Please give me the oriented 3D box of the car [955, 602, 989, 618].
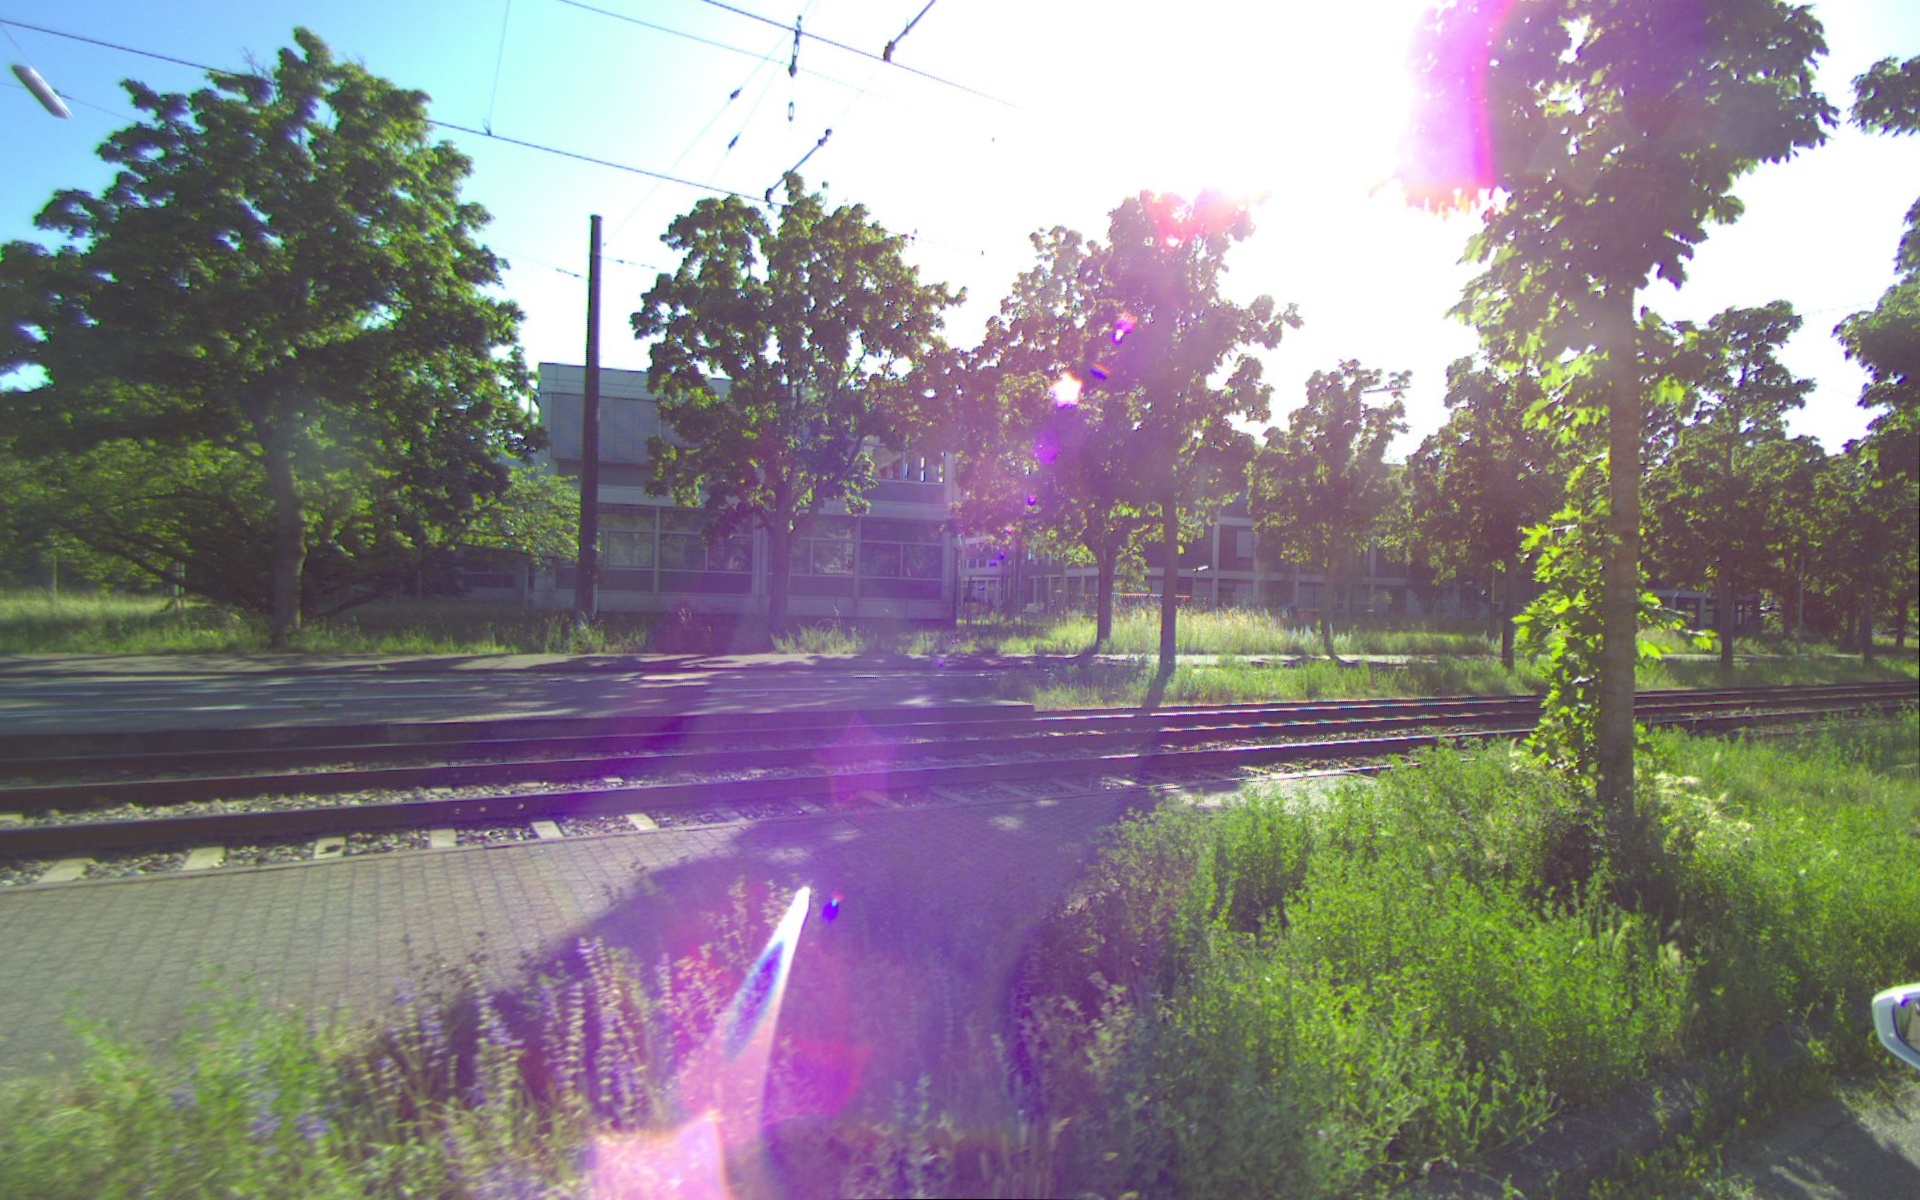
[{"bbox_3d":[0.993,0.842,85.567,1.816,1.284,4.538,2,0,-13],"label":"car"}]
